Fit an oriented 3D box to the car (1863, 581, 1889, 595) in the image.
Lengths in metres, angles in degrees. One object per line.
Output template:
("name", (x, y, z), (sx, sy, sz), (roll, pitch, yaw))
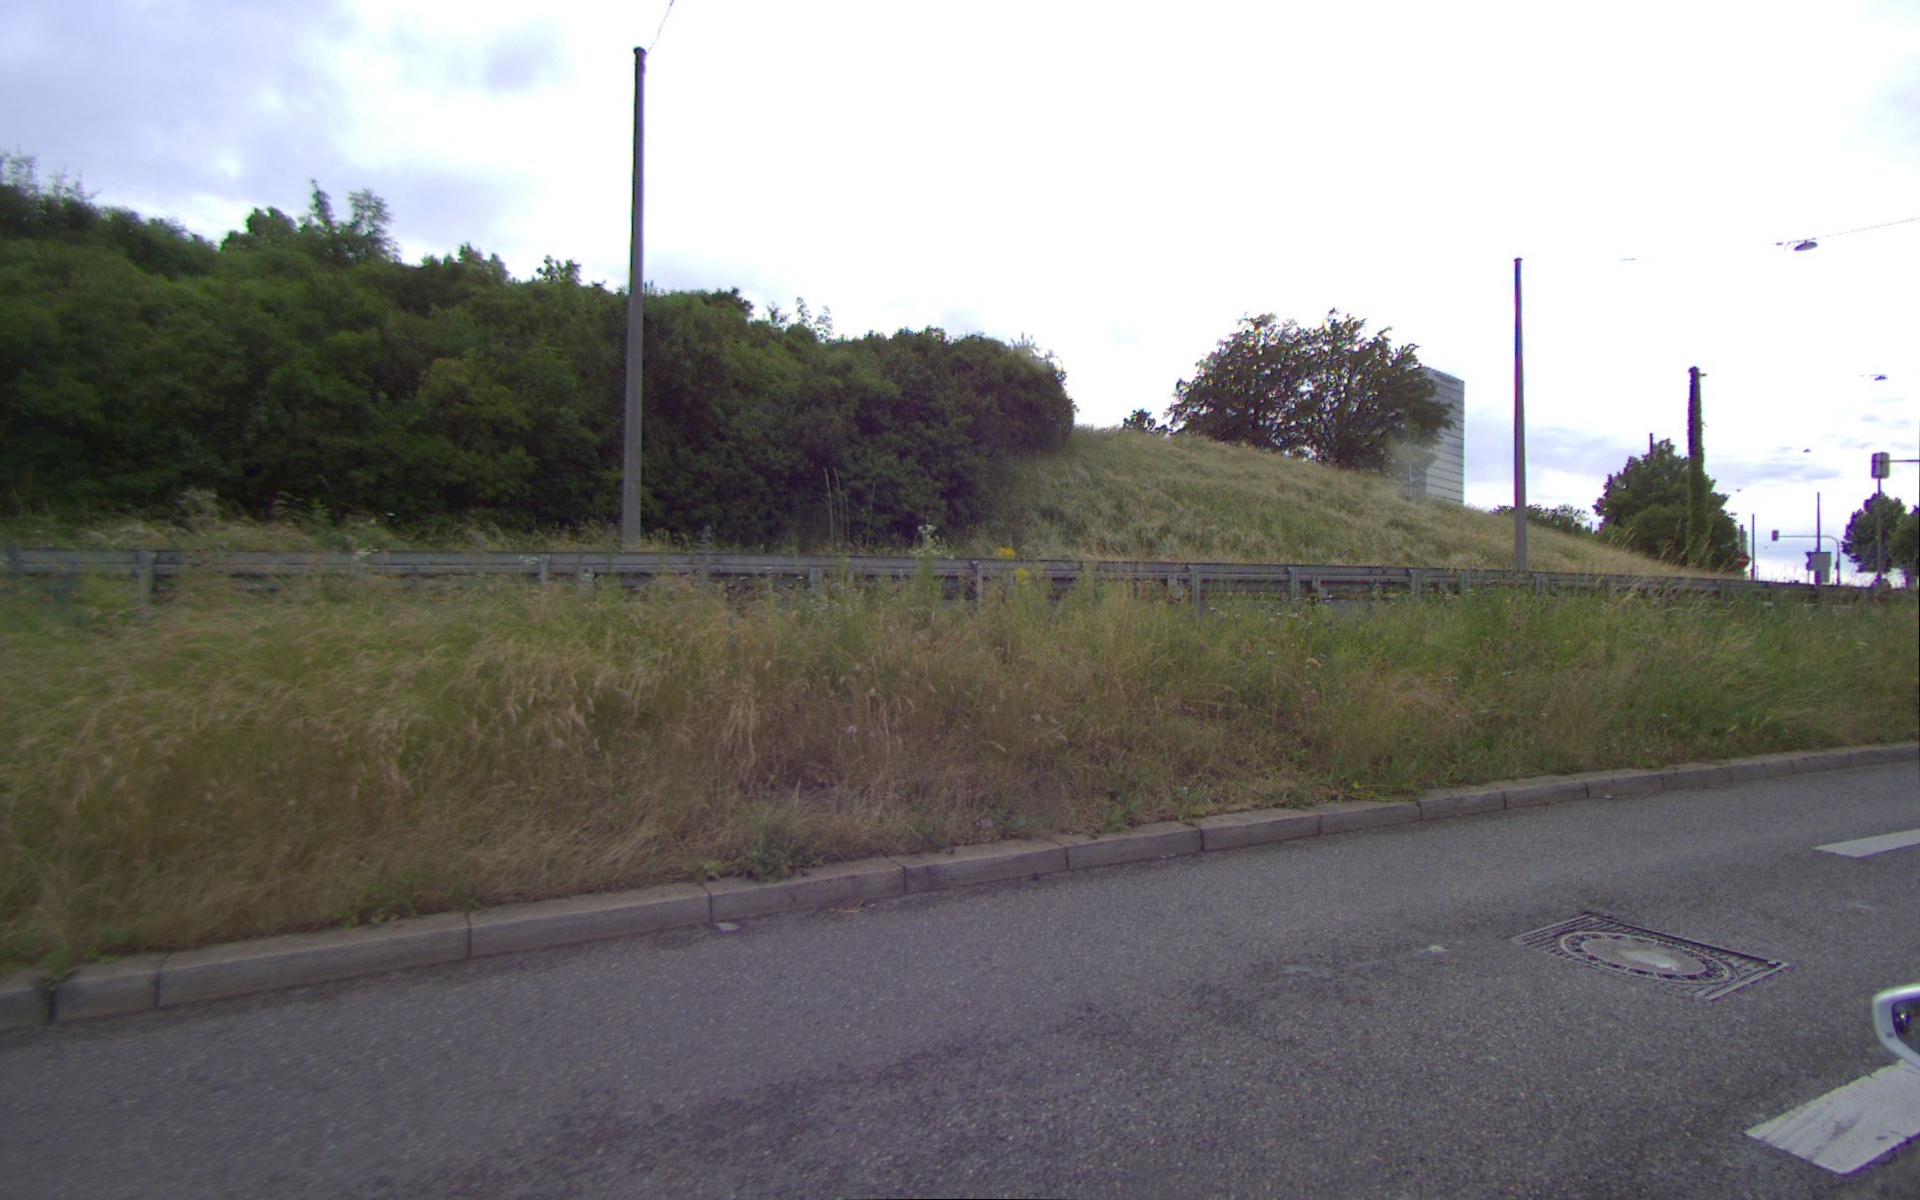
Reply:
("car", (117.046, -1.544, 128.368), (1.729, 1.729, 3.726), (4, 3, 32))
